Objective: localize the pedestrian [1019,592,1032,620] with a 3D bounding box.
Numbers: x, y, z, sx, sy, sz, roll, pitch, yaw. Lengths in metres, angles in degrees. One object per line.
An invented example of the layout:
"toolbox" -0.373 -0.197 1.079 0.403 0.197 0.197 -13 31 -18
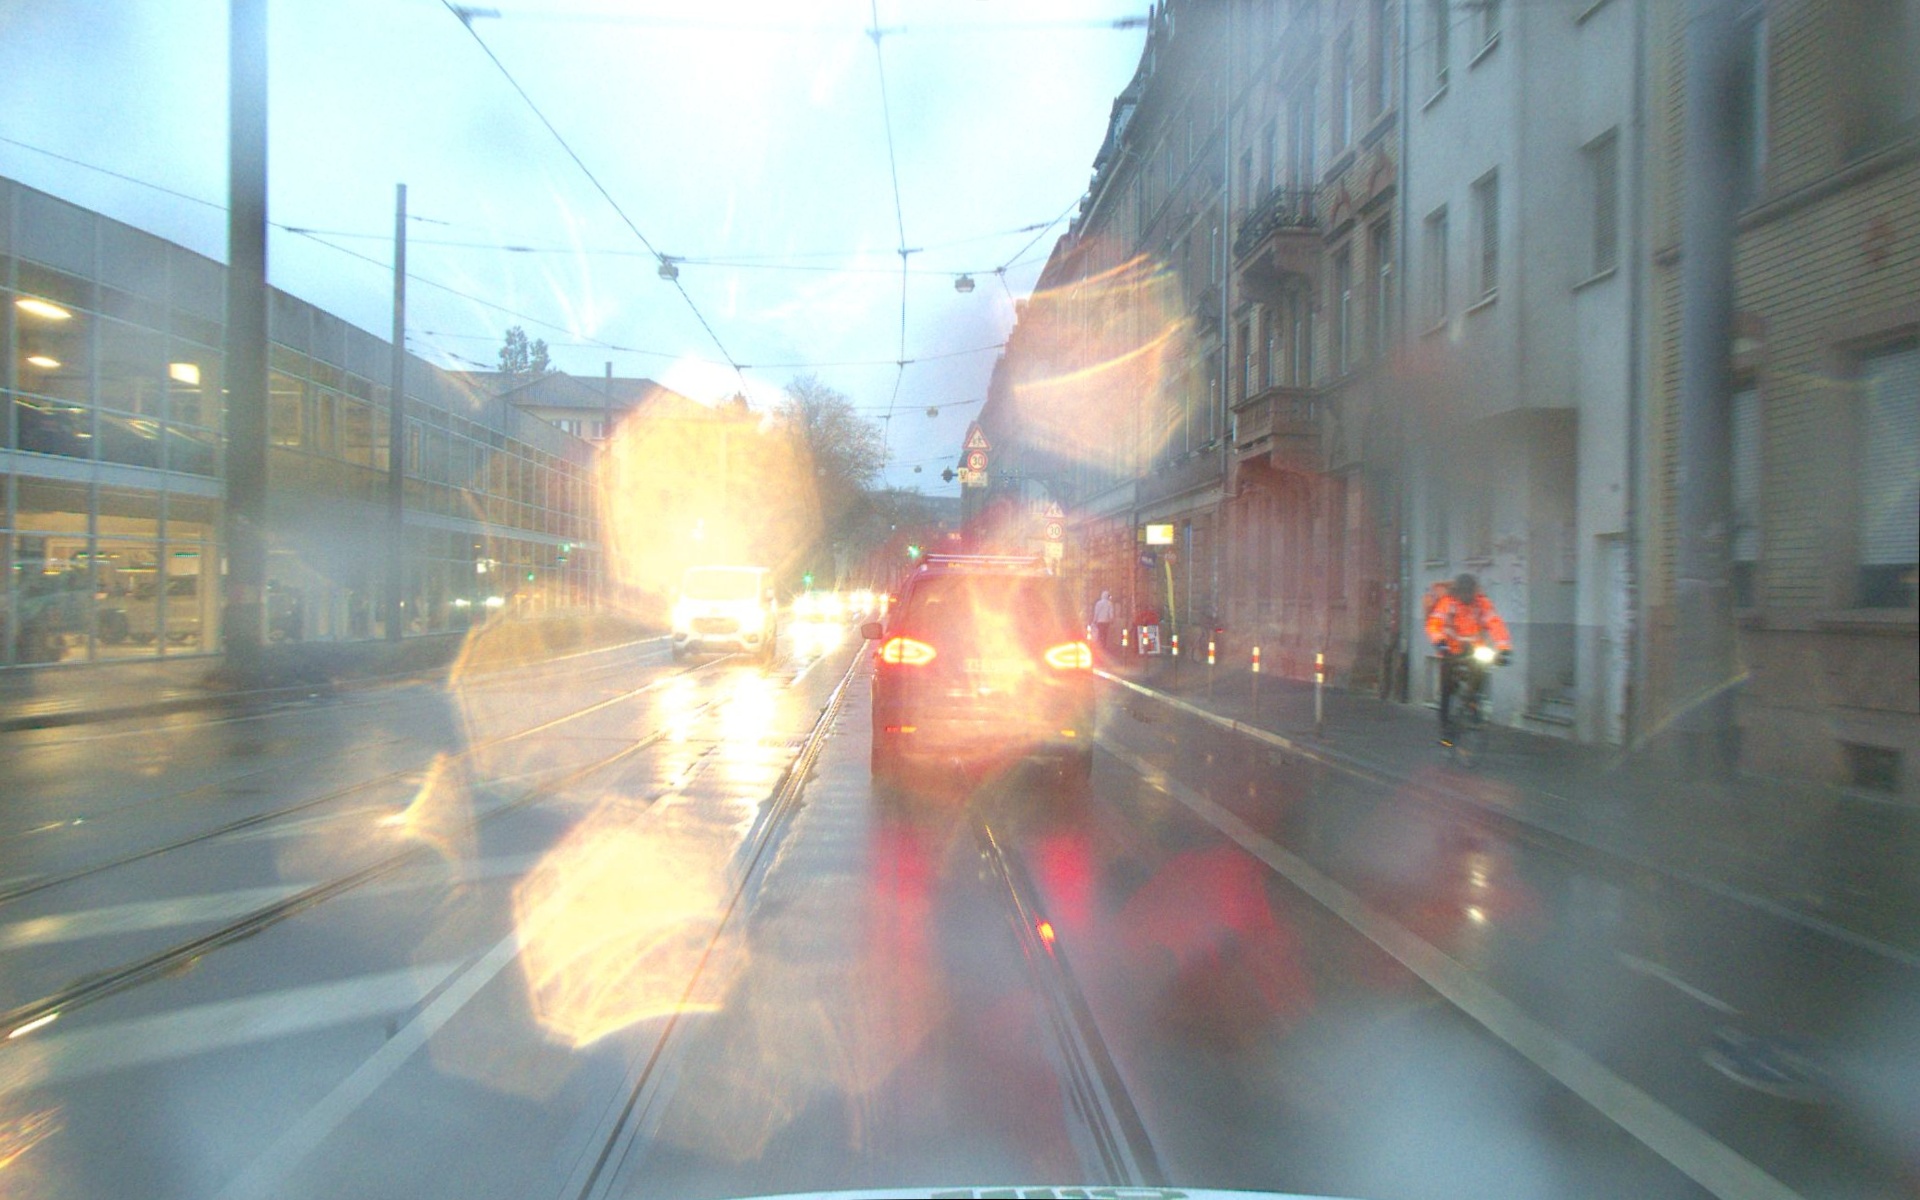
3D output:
"pedestrian" 3.282 0.302 82.961 0.588 1.401 0.728 1 0 -3

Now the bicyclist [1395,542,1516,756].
"bicyclist" 4.588 0.439 15.381 0.730 1.913 1.111 0 0 -5

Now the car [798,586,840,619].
"car" -7.167 0.125 84.135 1.804 1.606 4.441 0 0 -1

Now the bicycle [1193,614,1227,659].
"bicycle" 5.401 0.774 35.815 0.389 0.927 1.866 0 0 -2

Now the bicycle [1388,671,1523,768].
"bicycle" 4.585 1.084 15.417 0.596 0.774 1.859 0 0 -4

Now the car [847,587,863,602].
"car" -12.514 -0.683 198.116 1.838 1.739 4.758 0 0 -3

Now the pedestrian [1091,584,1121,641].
"pedestrian" 4.214 0.358 47.710 0.770 1.625 0.741 0 0 -2

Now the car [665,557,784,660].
"car" -5.059 0.183 36.066 1.953 2.049 4.684 1 0 -1

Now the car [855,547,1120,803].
"car" 0.224 0.551 14.280 1.952 1.874 4.000 1 0 0
